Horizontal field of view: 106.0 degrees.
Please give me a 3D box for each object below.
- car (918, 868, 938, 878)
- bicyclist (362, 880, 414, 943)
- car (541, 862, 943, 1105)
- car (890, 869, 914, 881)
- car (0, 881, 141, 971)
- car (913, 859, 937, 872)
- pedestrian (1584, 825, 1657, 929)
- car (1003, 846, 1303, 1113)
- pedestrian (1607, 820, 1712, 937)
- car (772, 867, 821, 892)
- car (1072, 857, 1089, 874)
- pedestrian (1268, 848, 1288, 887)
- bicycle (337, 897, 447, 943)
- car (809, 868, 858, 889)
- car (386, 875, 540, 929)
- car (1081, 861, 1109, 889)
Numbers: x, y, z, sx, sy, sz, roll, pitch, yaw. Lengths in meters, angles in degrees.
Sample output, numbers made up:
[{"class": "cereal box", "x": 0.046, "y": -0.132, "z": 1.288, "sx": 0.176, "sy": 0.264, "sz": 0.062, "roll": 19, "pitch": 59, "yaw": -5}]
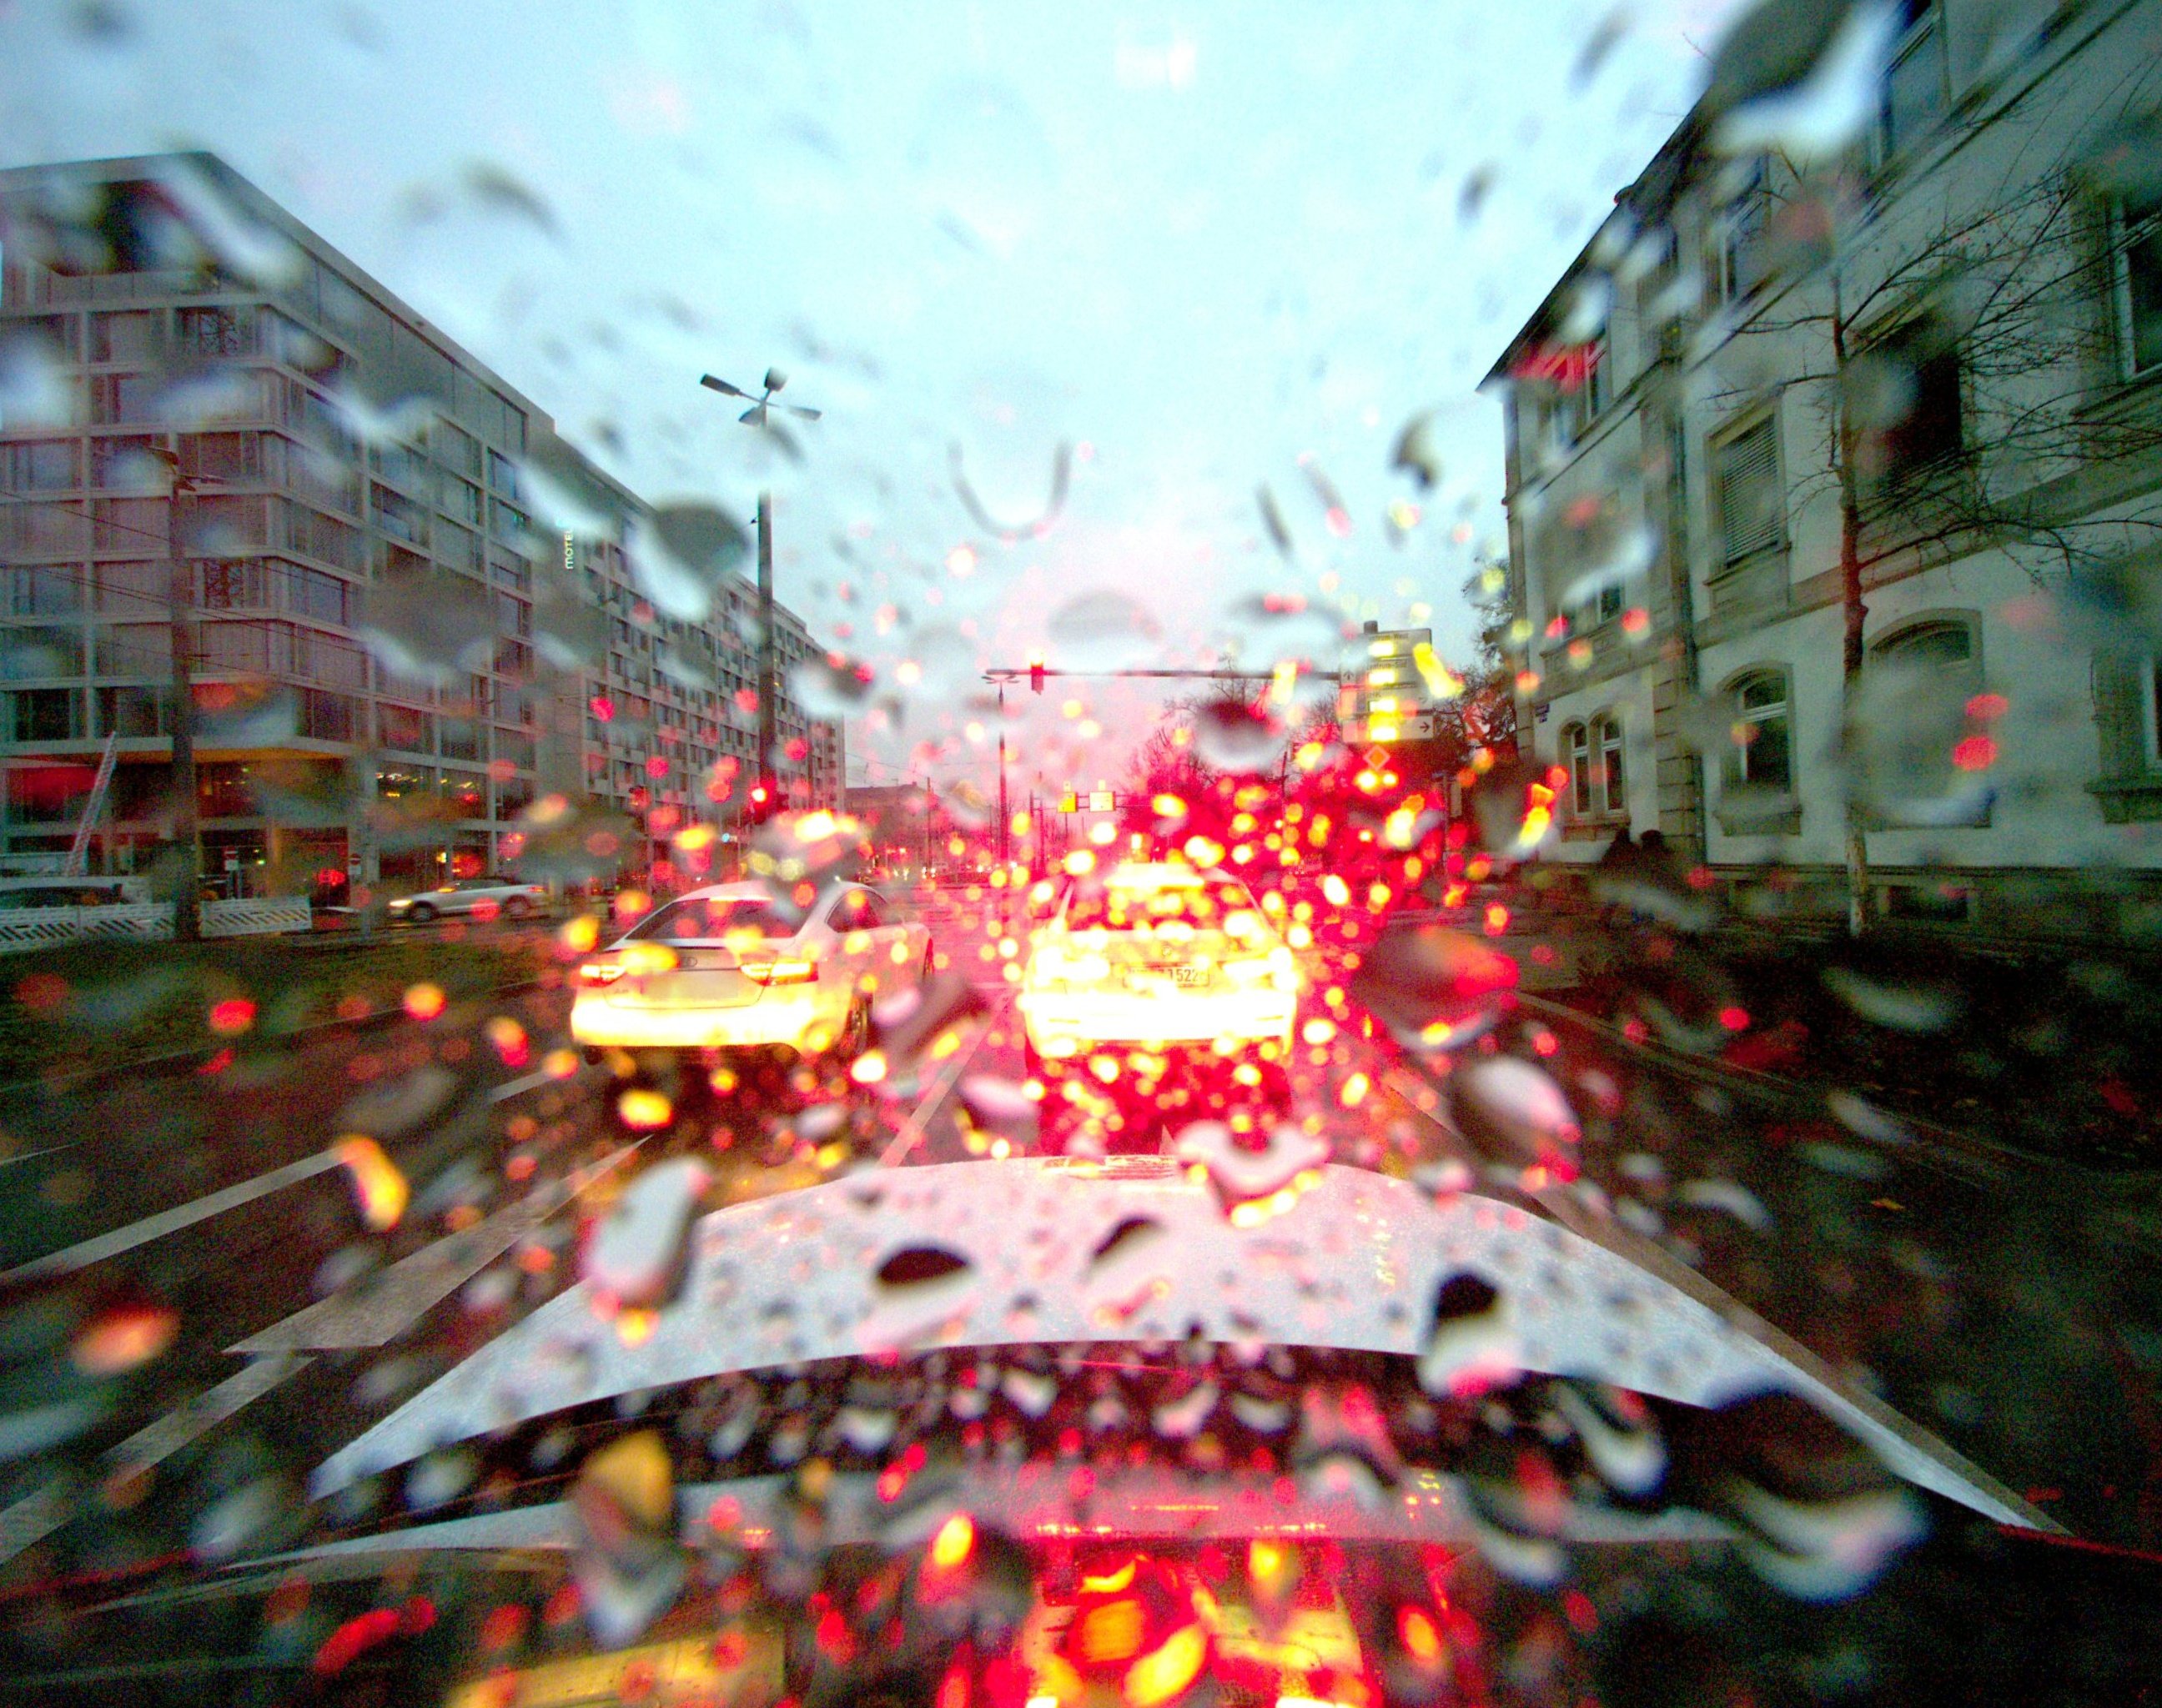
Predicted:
[{"class": "car", "x": -22.694, "y": 2.833, "z": 120.788, "sx": 1.987, "sy": 1.462, "sz": 5.094, "roll": 0, "pitch": 0, "yaw": 0}, {"class": "bicyclist", "x": -32.032, "y": 2.629, "z": 37.666, "sx": 1.344, "sy": 2.828, "sz": 1.192, "roll": 0, "pitch": -1, "yaw": -2}, {"class": "car", "x": -2.457, "y": 0.819, "z": 7.166, "sx": 1.754, "sy": 1.470, "sz": 4.250, "roll": 0, "pitch": -1, "yaw": 0}, {"class": "car", "x": -23.345, "y": 2.719, "z": 106.292, "sx": 1.987, "sy": 1.462, "sz": 5.094, "roll": 0, "pitch": 0, "yaw": 0}, {"class": "car", "x": -27.152, "y": 1.809, "z": 20.648, "sx": 1.934, "sy": 2.123, "sz": 4.110, "roll": -1, "pitch": -1, "yaw": 33}, {"class": "car", "x": -18.122, "y": 1.301, "z": 94.730, "sx": 1.988, "sy": 1.462, "sz": 5.090, "roll": 0, "pitch": 0, "yaw": -2}, {"class": "pedestrian", "x": 8.849, "y": 0.362, "z": 13.400, "sx": 0.775, "sy": 1.632, "sz": 1.016, "roll": -1, "pitch": -1, "yaw": 20}, {"class": "car", "x": 0.419, "y": 0.754, "z": 6.925, "sx": 1.754, "sy": 1.552, "sz": 4.250, "roll": 0, "pitch": -1, "yaw": 0}, {"class": "pedestrian", "x": 8.153, "y": 0.337, "z": 11.518, "sx": 0.778, "sy": 1.579, "sz": 1.012, "roll": 0, "pitch": -1, "yaw": 3}, {"class": "car", "x": -21.649, "y": 1.886, "z": 62.079, "sx": 1.873, "sy": 1.789, "sz": 4.603, "roll": 0, "pitch": -1, "yaw": 3}, {"class": "car", "x": -0.001, "y": 1.419, "z": 101.012, "sx": 1.986, "sy": 2.014, "sz": 4.001, "roll": 0, "pitch": -1, "yaw": 2}, {"class": "pedestrian", "x": 9.620, "y": 0.676, "z": 39.832, "sx": 0.706, "sy": 1.879, "sz": 0.679, "roll": -1, "pitch": -1, "yaw": 38}, {"class": "bicycle", "x": -31.840, "y": 3.031, "z": 37.669, "sx": 3.976, "sy": 2.014, "sz": 1.192, "roll": 0, "pitch": -1, "yaw": -2}, {"class": "car", "x": -18.679, "y": 1.812, "z": 61.610, "sx": 1.986, "sy": 1.462, "sz": 5.097, "roll": 0, "pitch": 0, "yaw": 2}, {"class": "car", "x": -21.458, "y": 1.617, "z": 28.531, "sx": 4.097, "sy": 1.687, "sz": 1.939, "roll": 0, "pitch": -1, "yaw": -32}, {"class": "car", "x": 1.080, "y": 1.550, "z": 61.657, "sx": 1.986, "sy": 2.014, "sz": 4.001, "roll": 0, "pitch": -1, "yaw": 2}]
